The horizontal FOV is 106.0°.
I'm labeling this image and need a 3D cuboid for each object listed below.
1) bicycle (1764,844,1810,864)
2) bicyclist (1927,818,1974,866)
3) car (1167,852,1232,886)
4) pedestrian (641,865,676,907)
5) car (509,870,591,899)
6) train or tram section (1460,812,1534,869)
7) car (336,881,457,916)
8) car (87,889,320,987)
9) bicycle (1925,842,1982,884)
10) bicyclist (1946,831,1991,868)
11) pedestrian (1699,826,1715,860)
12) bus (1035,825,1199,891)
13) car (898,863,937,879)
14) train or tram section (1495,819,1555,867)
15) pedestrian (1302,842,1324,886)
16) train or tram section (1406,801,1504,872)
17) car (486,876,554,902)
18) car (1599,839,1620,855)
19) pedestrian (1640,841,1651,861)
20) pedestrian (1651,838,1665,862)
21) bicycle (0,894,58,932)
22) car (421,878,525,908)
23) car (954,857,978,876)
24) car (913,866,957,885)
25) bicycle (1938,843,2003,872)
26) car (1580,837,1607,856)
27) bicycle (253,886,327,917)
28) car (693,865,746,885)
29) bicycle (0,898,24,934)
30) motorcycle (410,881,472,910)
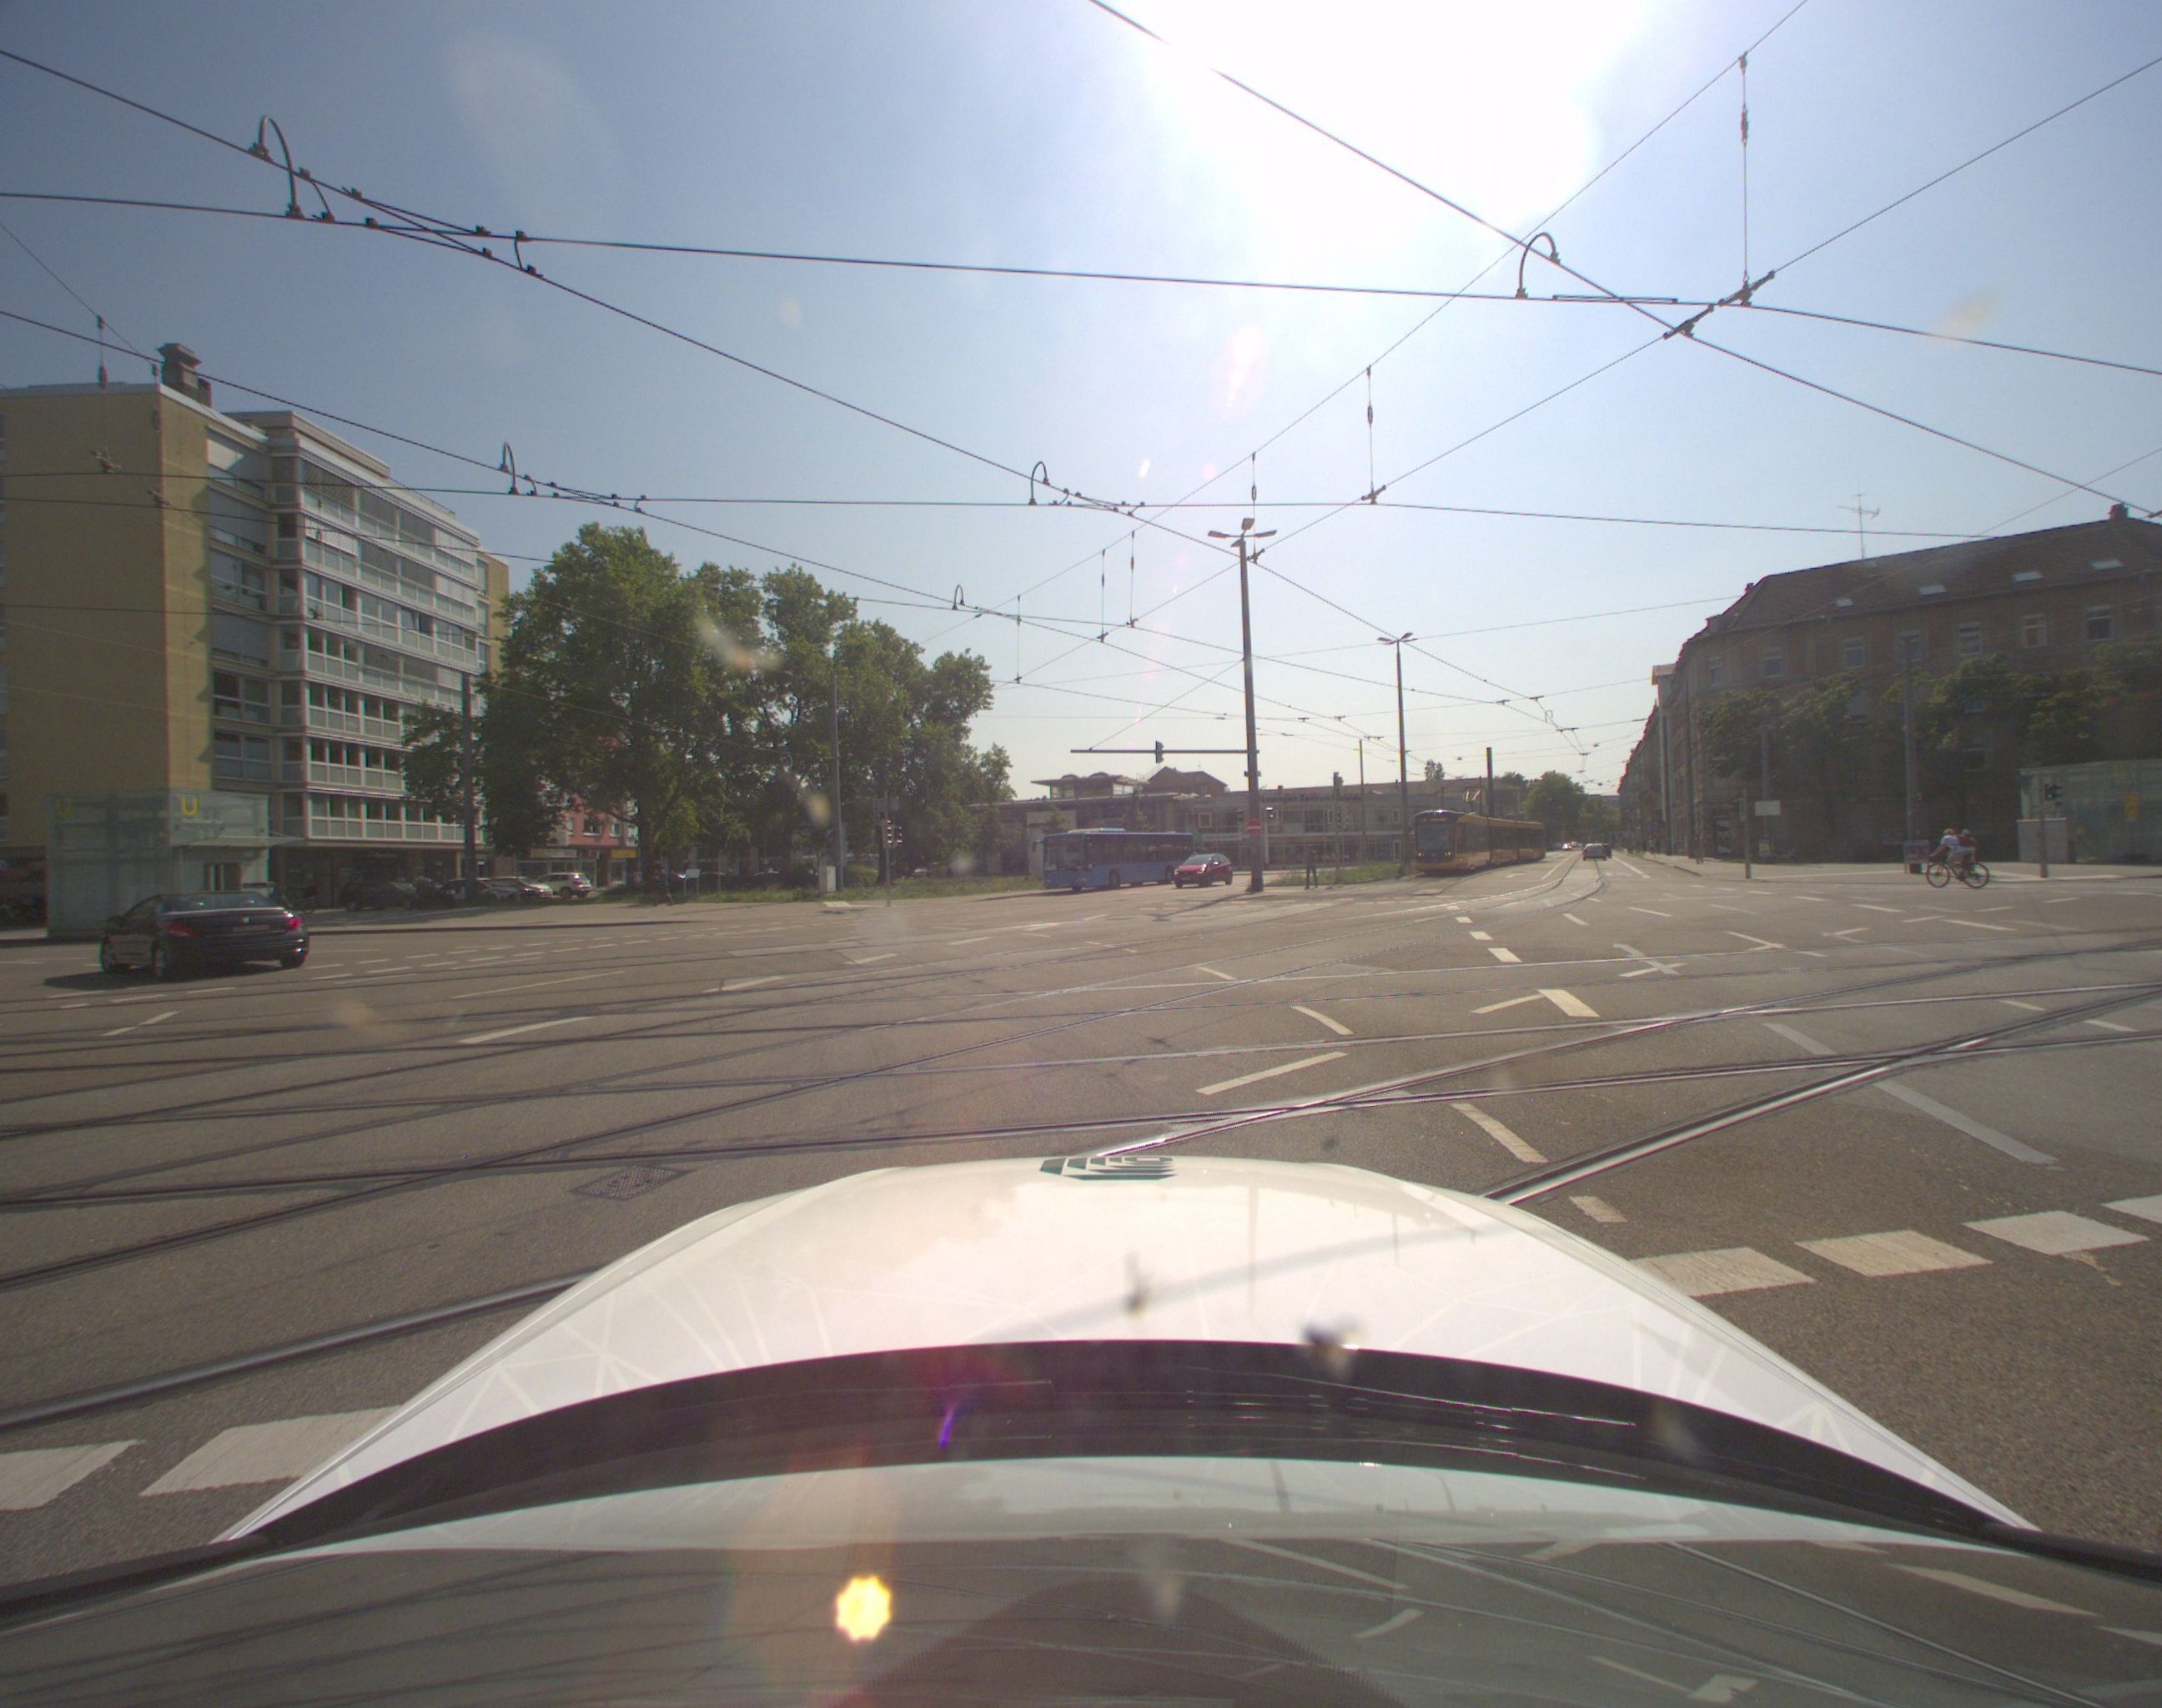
[{"bbox_3d":[37.072,-0.005,42.779,1.766,0.958,0.464,-2,0,27],"label":"bicycle"},{"bbox_3d":[23.696,-0.324,22.202,0.650,1.254,0.648,-2,0,23],"label":"bicyclist"},{"bbox_3d":[5.710,0.705,39.023,1.609,1.472,3.796,-2,0,33],"label":"car"},{"bbox_3d":[-17.161,1.296,33.131,0.944,1.609,0.793,-3,0,-3],"label":"pedestrian"},{"bbox_3d":[-34.191,1.925,52.520,4.050,1.666,1.789,-2,0,-2],"label":"car"},{"bbox_3d":[29.016,-0.812,56.389,2.562,3.560,12.294,0,0,37],"label":"train or tram section"},{"bbox_3d":[-33.685,2.162,40.186,4.222,1.470,1.904,-2,0,-2],"label":"car"},{"bbox_3d":[-15.426,1.385,14.294,3.949,1.431,1.807,-2,0,28],"label":"car"},{"bbox_3d":[23.784,0.235,22.226,0.436,1.111,1.652,-2,0,24],"label":"bicycle"},{"bbox_3d":[32.180,-0.163,29.545,0.740,1.320,0.926,-2,0,23],"label":"bicyclist"},{"bbox_3d":[38.197,-0.663,49.718,0.643,2.013,0.708,-2,0,29],"label":"pedestrian"},{"bbox_3d":[2.356,0.126,43.691,2.699,3.064,12.160,-2,0,34],"label":"bus"},{"bbox_3d":[-17.799,1.825,88.683,1.974,1.508,4.025,-2,0,31],"label":"car"},{"bbox_3d":[36.121,-0.781,65.955,2.562,3.560,12.294,0,0,37],"label":"train or tram section"},{"bbox_3d":[9.262,0.408,32.511,0.796,1.688,0.722,-2,-4,15],"label":"pedestrian"},{"bbox_3d":[21.475,-0.845,46.177,2.562,3.560,12.294,0,0,37],"label":"train or tram section"},{"bbox_3d":[-34.497,2.157,50.121,3.080,1.429,1.402,-2,0,-2],"label":"car"},{"bbox_3d":[52.181,-0.662,80.461,1.495,1.511,3.646,-2,0,29],"label":"car"},{"bbox_3d":[55.563,-0.287,80.125,0.784,2.014,0.815,0,-1,25],"label":"pedestrian"},{"bbox_3d":[49.286,-0.323,69.544,0.831,2.014,0.815,0,-1,25],"label":"pedestrian"},{"bbox_3d":[-43.572,2.412,33.518,0.908,1.404,3.327,-2,0,-35],"label":"bicycle"},{"bbox_3d":[-33.634,2.140,45.147,4.222,1.470,1.904,-2,0,-2],"label":"car"},{"bbox_3d":[-12.759,1.365,90.860,2.323,2.014,6.796,0,0,-5],"label":"car"},{"bbox_3d":[-15.310,2.235,85.407,4.282,1.753,1.696,-2,0,-40],"label":"car"},{"bbox_3d":[32.155,0.126,29.488,0.638,0.998,2.388,-2,0,23],"label":"bicycle"},{"bbox_3d":[44.094,-0.624,70.141,1.716,1.574,3.634,0,0,28],"label":"car"},{"bbox_3d":[-34.855,2.085,35.907,2.419,1.238,0.794,-2,0,0],"label":"bicycle"},{"bbox_3d":[-33.232,1.918,74.940,4.050,1.666,1.789,-2,0,-2],"label":"car"},{"bbox_3d":[-44.368,2.551,32.996,0.908,1.404,3.327,-2,0,-35],"label":"bicycle"},{"bbox_3d":[-26.866,1.744,34.190,2.091,1.137,0.916,-2,0,13],"label":"motorcycle"}]
